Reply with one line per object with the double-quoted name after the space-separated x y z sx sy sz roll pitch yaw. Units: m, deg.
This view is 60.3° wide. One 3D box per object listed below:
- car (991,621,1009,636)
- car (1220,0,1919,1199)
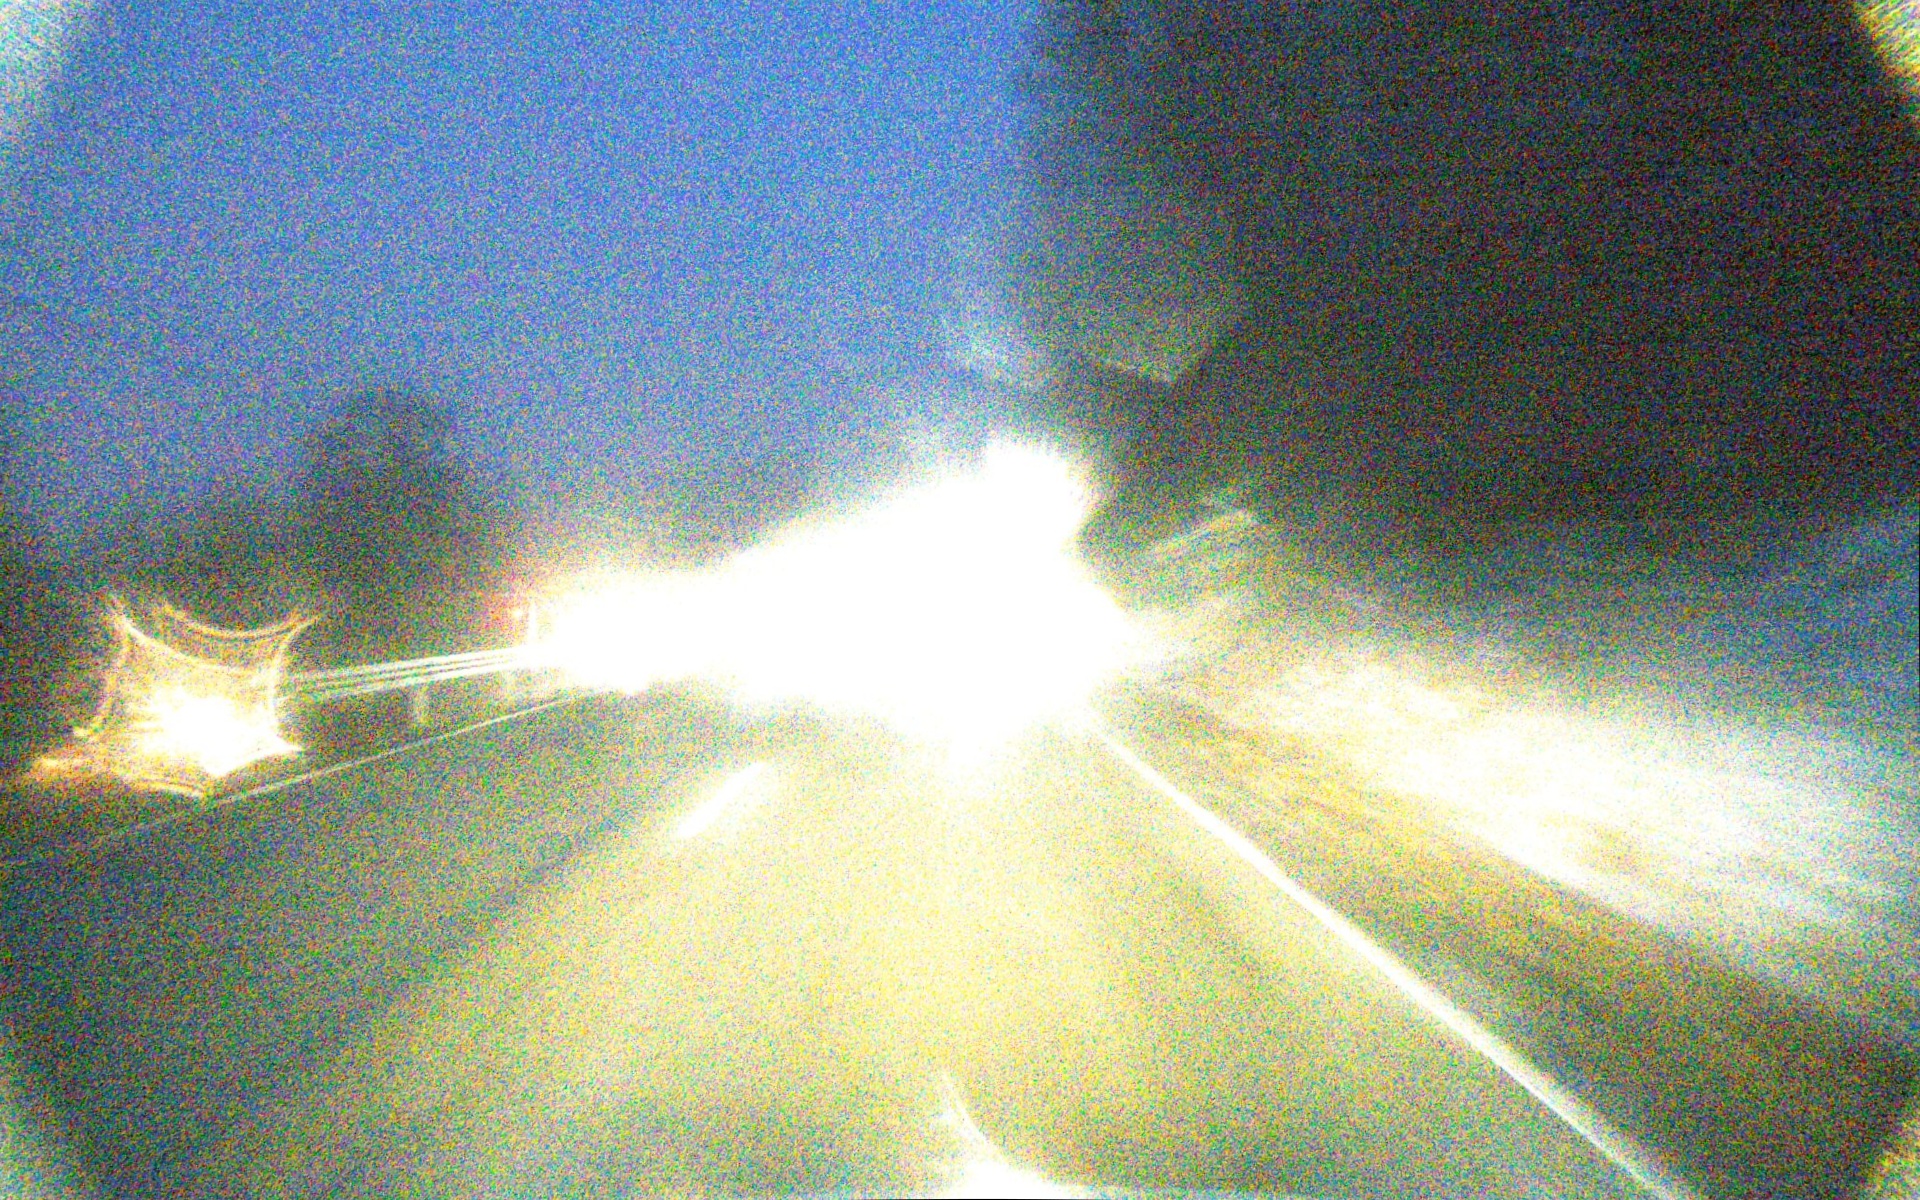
4.056 2.874 167.997 1.703 1.427 3.862 0 -1 3 "car"
2.117 0.163 4.229 2.152 2.049 4.205 1 -3 -1 "car"
